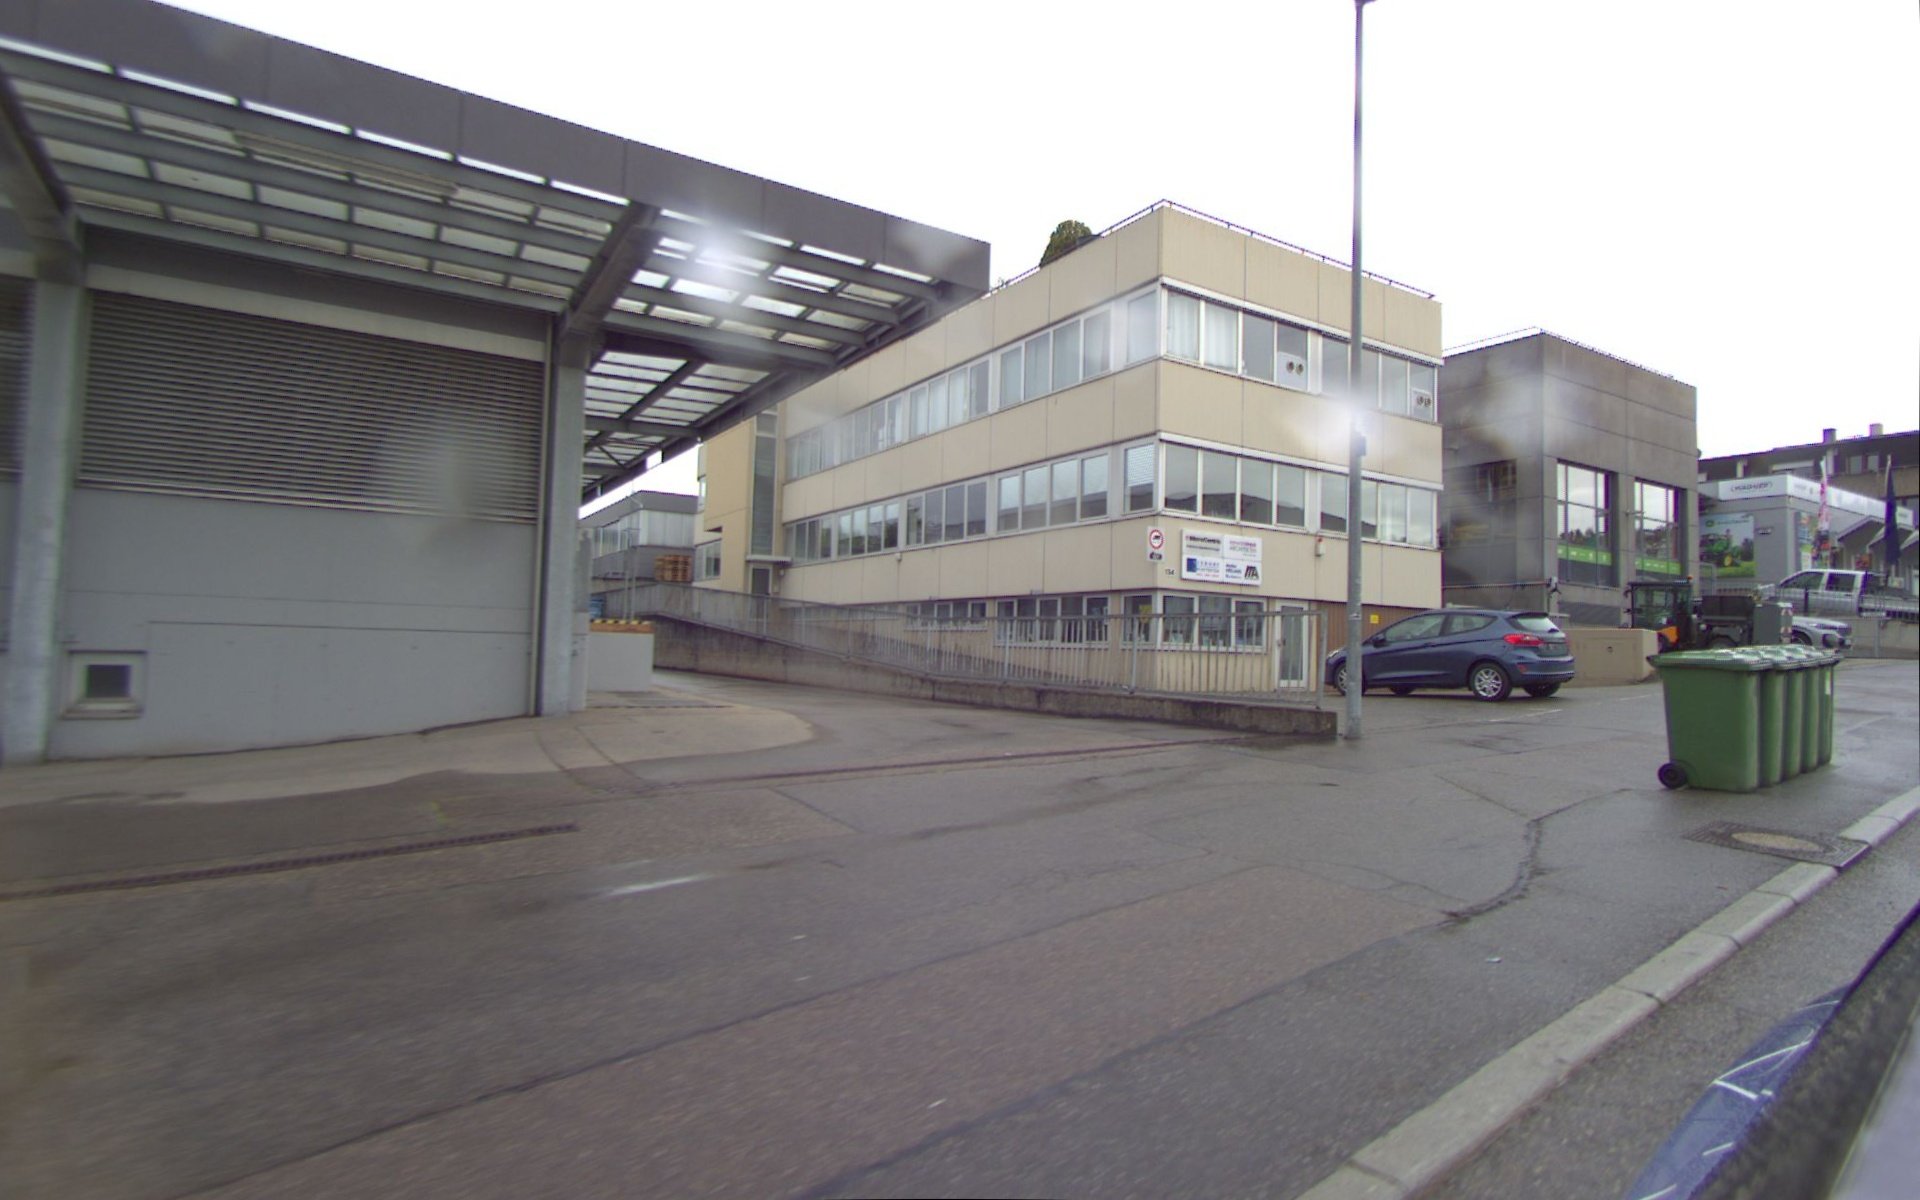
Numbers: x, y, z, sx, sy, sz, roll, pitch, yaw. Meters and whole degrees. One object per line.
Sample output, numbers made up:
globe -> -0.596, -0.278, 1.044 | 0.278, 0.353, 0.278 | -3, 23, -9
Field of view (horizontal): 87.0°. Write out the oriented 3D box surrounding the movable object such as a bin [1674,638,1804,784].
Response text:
movable object such as a bin -> 6.442, 0.883, 8.378 | 0.583, 1.104, 0.736 | 0, -1, -38

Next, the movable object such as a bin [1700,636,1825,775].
movable object such as a bin -> 6.927, 0.878, 8.748 | 0.583, 1.104, 0.736 | 0, -1, -38

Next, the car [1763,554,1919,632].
car -> 28.946, -0.203, 31.963 | 2.158, 2.323, 5.160 | 0, 0, -31

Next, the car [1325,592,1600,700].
car -> 8.113, 0.674, 16.641 | 1.600, 1.559, 3.751 | 0, 0, -34

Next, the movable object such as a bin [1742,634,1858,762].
movable object such as a bin -> 7.887, 0.889, 9.508 | 0.583, 1.104, 0.736 | 0, -1, -38

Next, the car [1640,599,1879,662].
car -> 21.105, 0.730, 26.929 | 1.903, 1.516, 4.628 | 0, 0, -33

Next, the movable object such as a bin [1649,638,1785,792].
movable object such as a bin -> 5.972, 0.872, 7.994 | 0.583, 1.104, 0.736 | 0, -1, -38

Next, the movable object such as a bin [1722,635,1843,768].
movable object such as a bin -> 7.406, 0.883, 9.123 | 0.583, 1.104, 0.736 | 0, -1, -38
